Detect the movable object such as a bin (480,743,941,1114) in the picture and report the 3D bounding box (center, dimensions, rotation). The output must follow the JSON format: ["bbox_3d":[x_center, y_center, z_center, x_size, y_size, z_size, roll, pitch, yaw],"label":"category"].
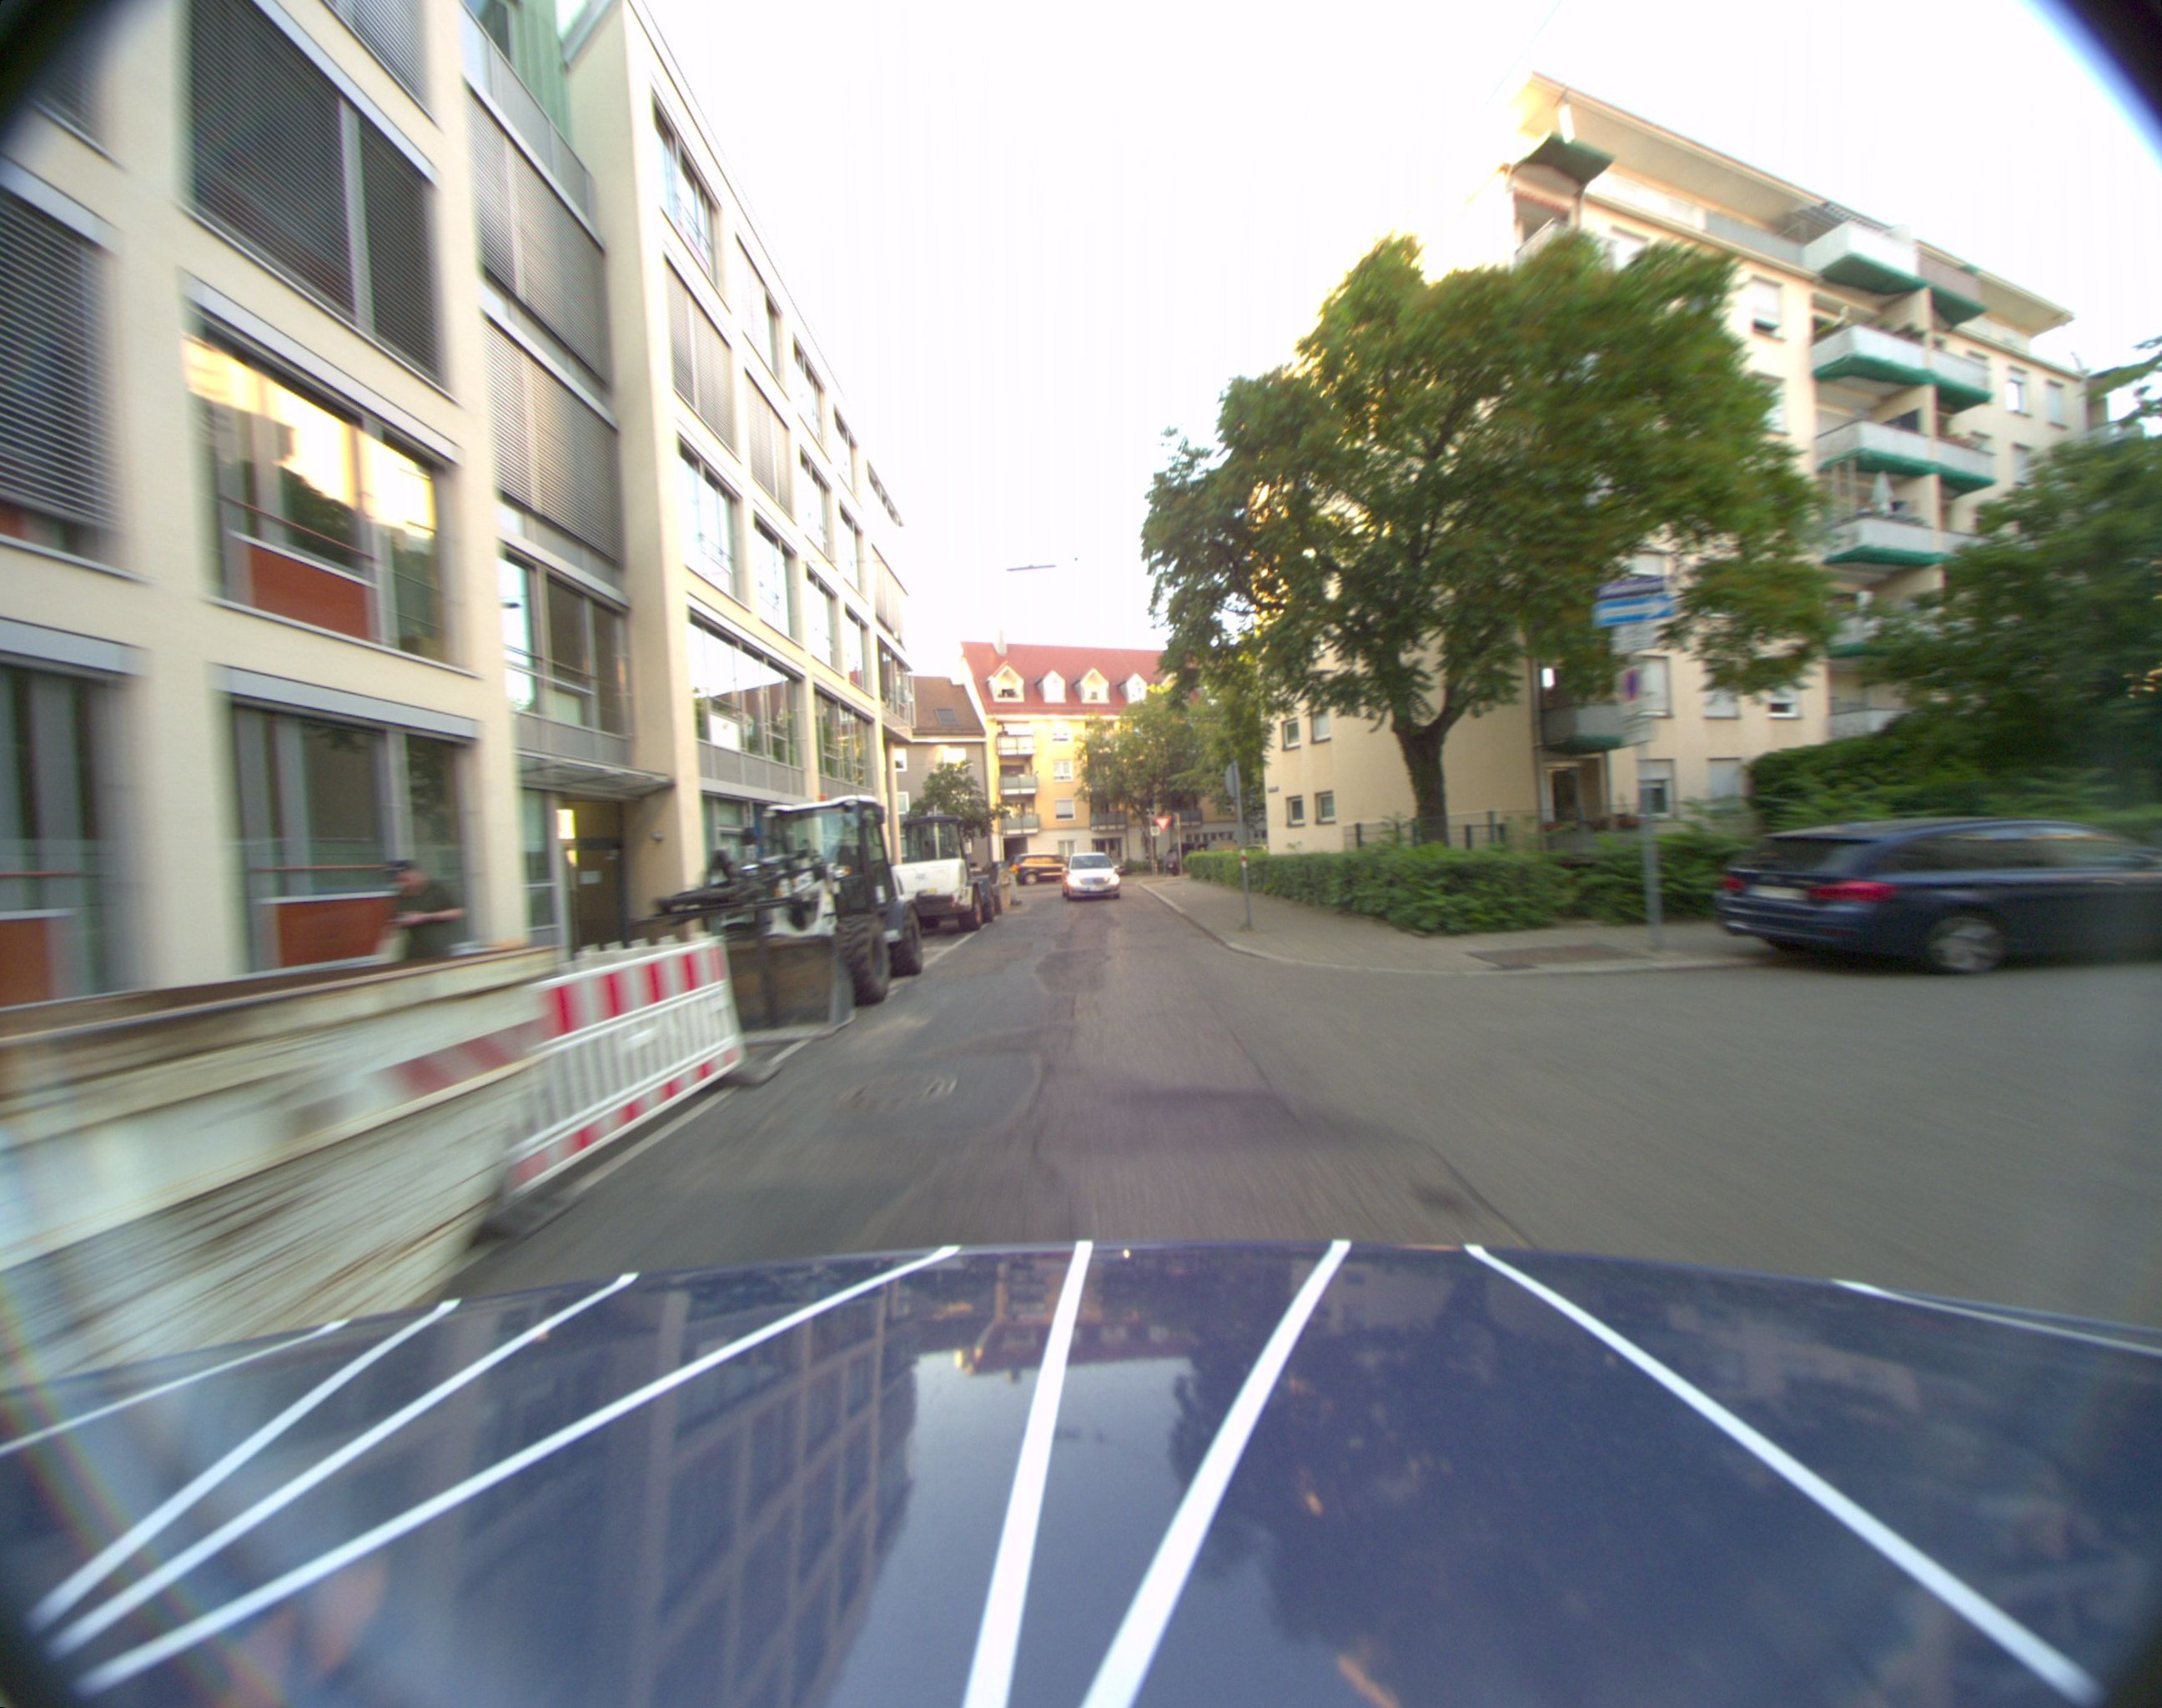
[{"bbox_3d":[-3.322,0.575,8.591,2.021,2.608,5.751,-6,0,2],"label":"movable object such as a bin"}]

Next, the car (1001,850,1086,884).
[{"bbox_3d":[-2.140,0.727,43.110,4.396,1.686,1.997,-3,1,-19],"label":"car"}]

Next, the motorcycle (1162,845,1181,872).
[{"bbox_3d":[4.924,0.233,41.299,0.858,1.345,1.960,-3,1,10],"label":"motorcycle"}]

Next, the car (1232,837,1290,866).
[{"bbox_3d":[10.193,-0.122,43.225,1.634,1.498,3.496,-4,0,-16],"label":"car"}]

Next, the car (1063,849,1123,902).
[{"bbox_3d":[0.426,0.691,25.905,1.804,1.607,4.273,-2,0,1],"label":"car"}]

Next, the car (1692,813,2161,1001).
[{"bbox_3d":[9.081,0.443,7.697,4.382,1.473,1.726,-3,1,-1],"label":"car"}]

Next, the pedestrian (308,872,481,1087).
[{"bbox_3d":[-6.221,1.093,6.930,0.807,1.809,0.722,-3,1,0],"label":"pedestrian"}]

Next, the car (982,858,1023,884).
[{"bbox_3d":[-5.173,1.058,49.442,1.634,1.443,3.849,-3,2,-21],"label":"car"}]

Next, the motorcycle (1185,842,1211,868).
[{"bbox_3d":[6.461,0.048,42.101,0.572,1.398,1.968,-4,1,-18],"label":"motorcycle"}]

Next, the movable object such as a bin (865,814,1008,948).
[{"bbox_3d":[-3.267,0.539,18.644,2.021,2.608,5.750,-6,0,2],"label":"movable object such as a bin"}]

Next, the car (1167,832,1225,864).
[{"bbox_3d":[8.200,-0.465,54.658,2.231,2.065,4.320,-3,2,-21],"label":"car"}]

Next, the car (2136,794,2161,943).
[{"bbox_3d":[14.328,0.061,7.920,4.123,1.694,1.727,-3,1,2],"label":"car"}]

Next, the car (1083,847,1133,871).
[{"bbox_3d":[1.816,0.294,52.422,1.829,1.460,4.320,-3,2,-21],"label":"car"}]
